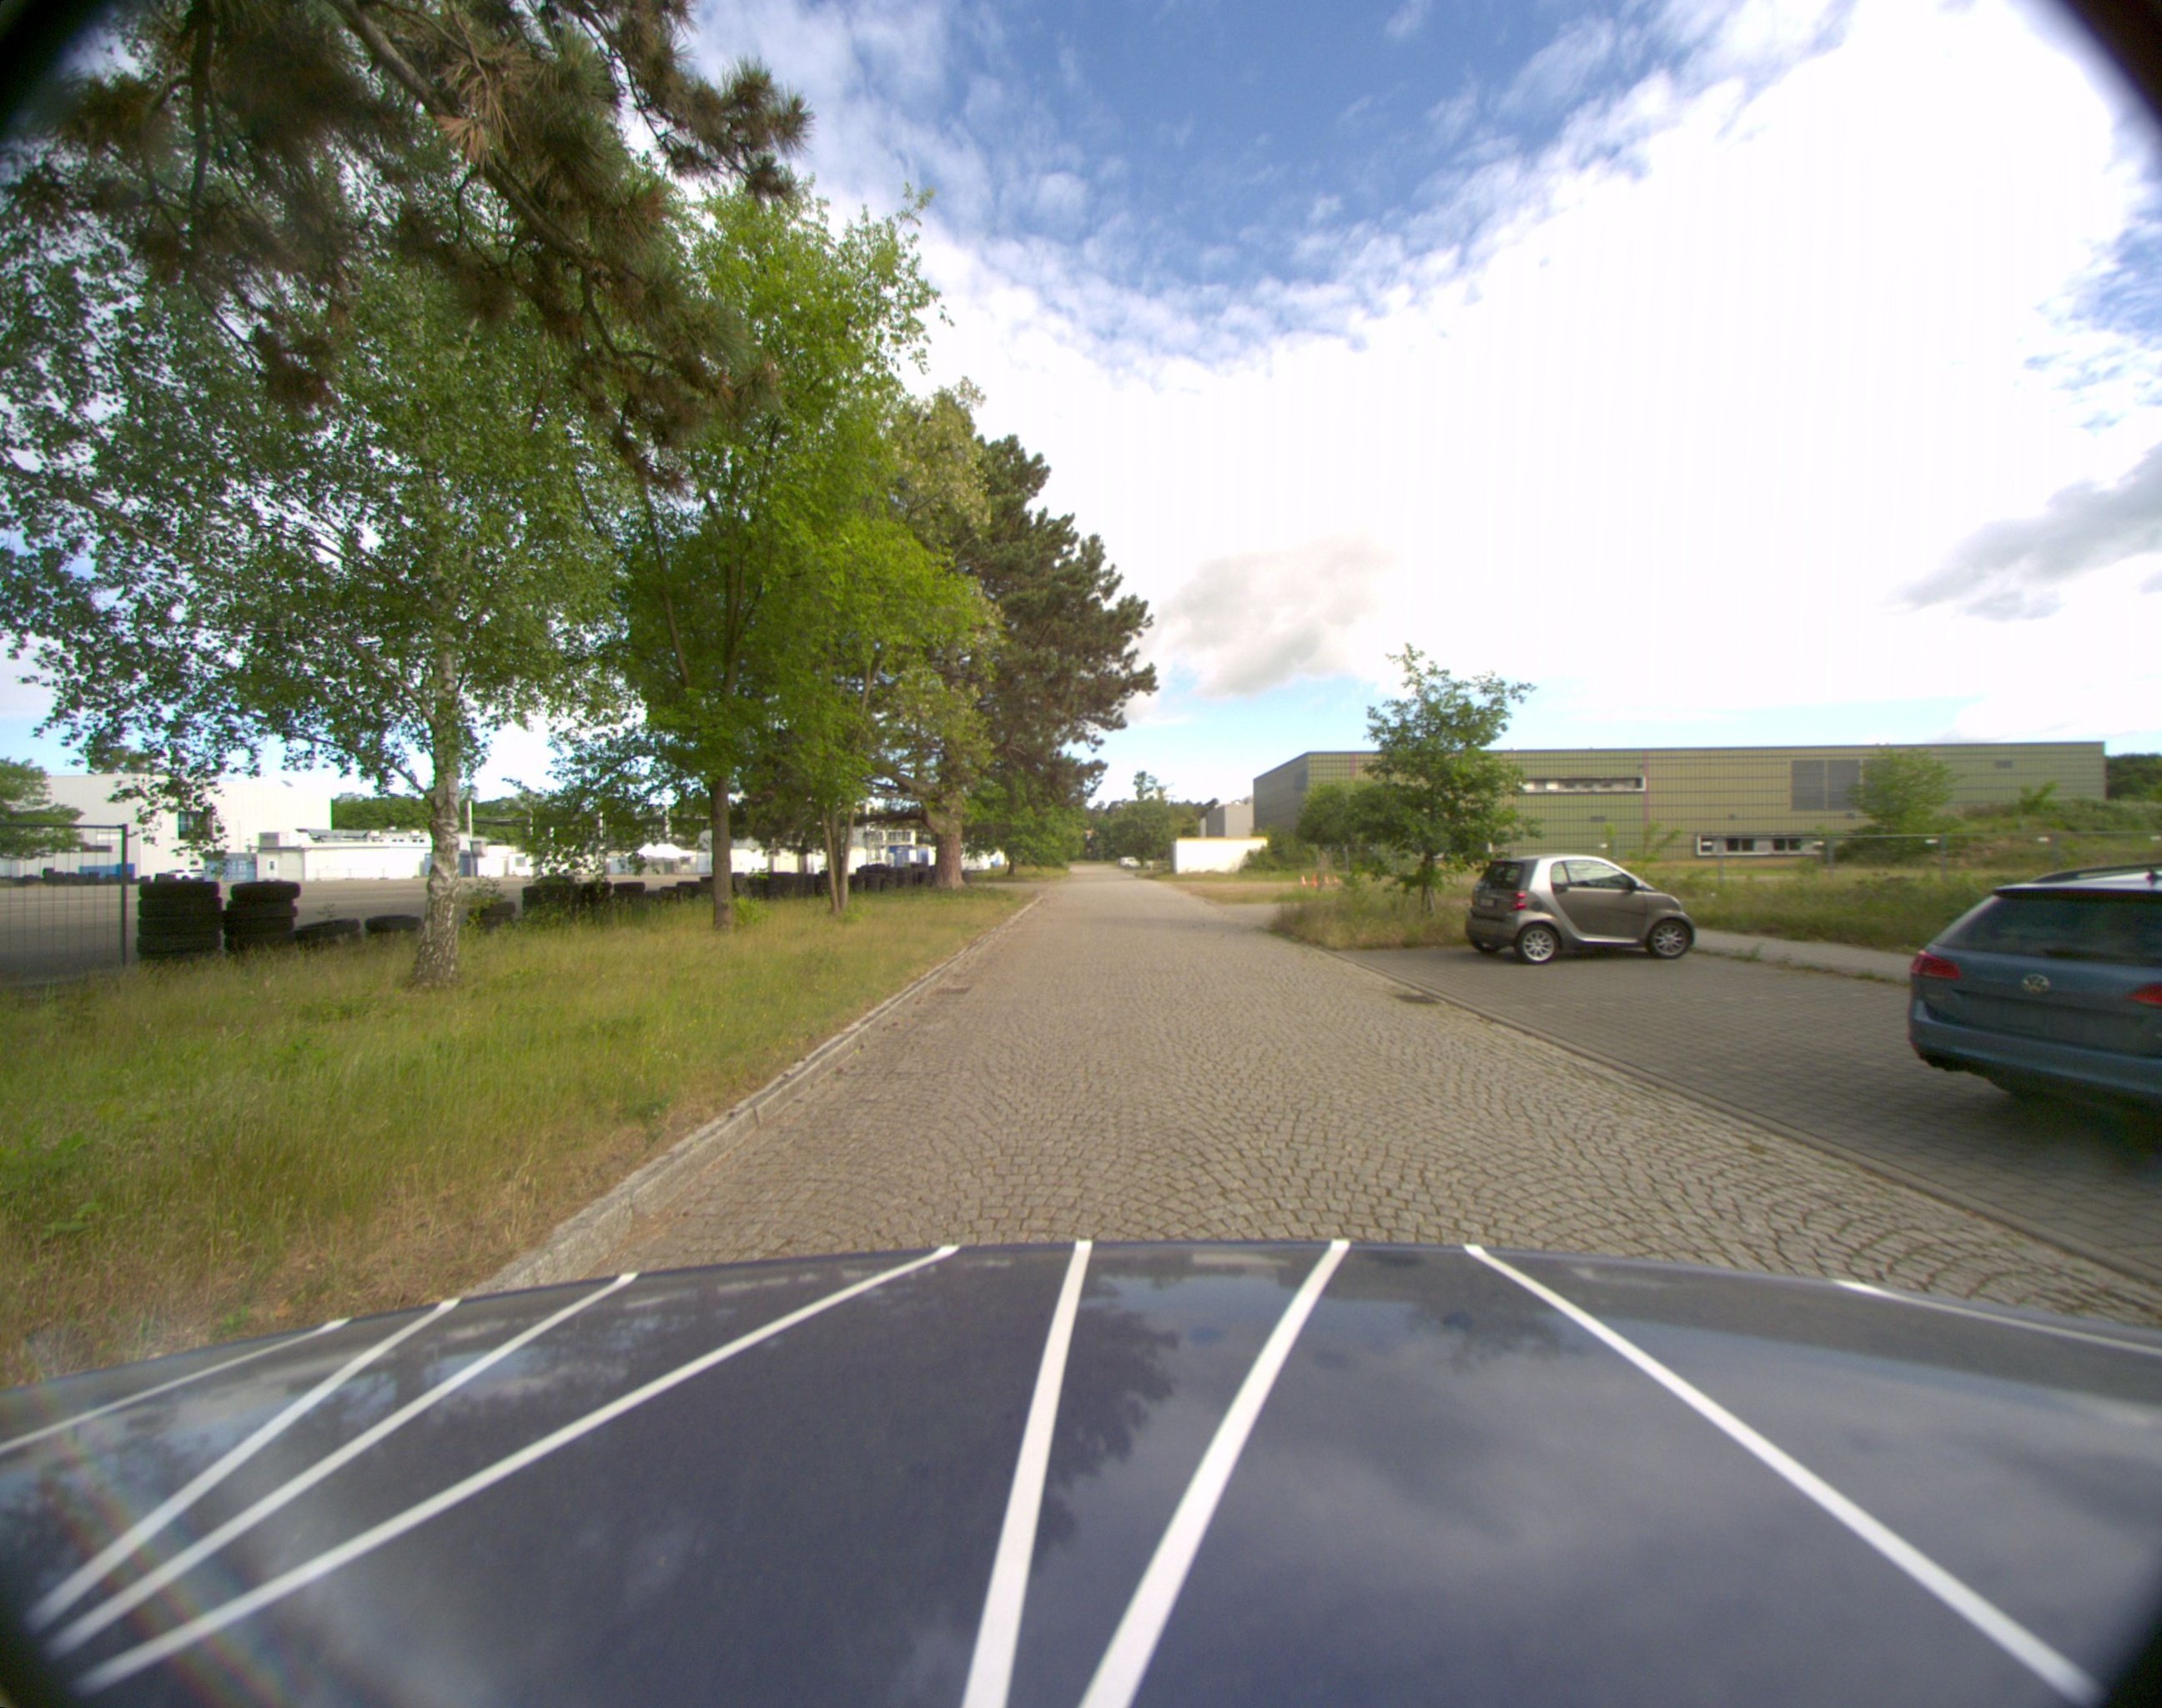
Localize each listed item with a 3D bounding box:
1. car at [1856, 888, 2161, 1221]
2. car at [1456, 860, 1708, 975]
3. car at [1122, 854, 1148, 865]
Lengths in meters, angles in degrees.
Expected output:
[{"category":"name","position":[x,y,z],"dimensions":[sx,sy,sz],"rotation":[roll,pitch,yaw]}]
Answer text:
[{"category":"car","position":[7.145,0.925,4.049],"dimensions":[4.317,1.420,1.773],"rotation":[-2,0,-2]},{"category":"car","position":[7.359,0.888,11.358],"dimensions":[2.661,1.502,1.610],"rotation":[-2,0,0]},{"category":"car","position":[8.464,0.889,118.584],"dimensions":[3.996,1.604,1.798],"rotation":[0,0,4]}]
